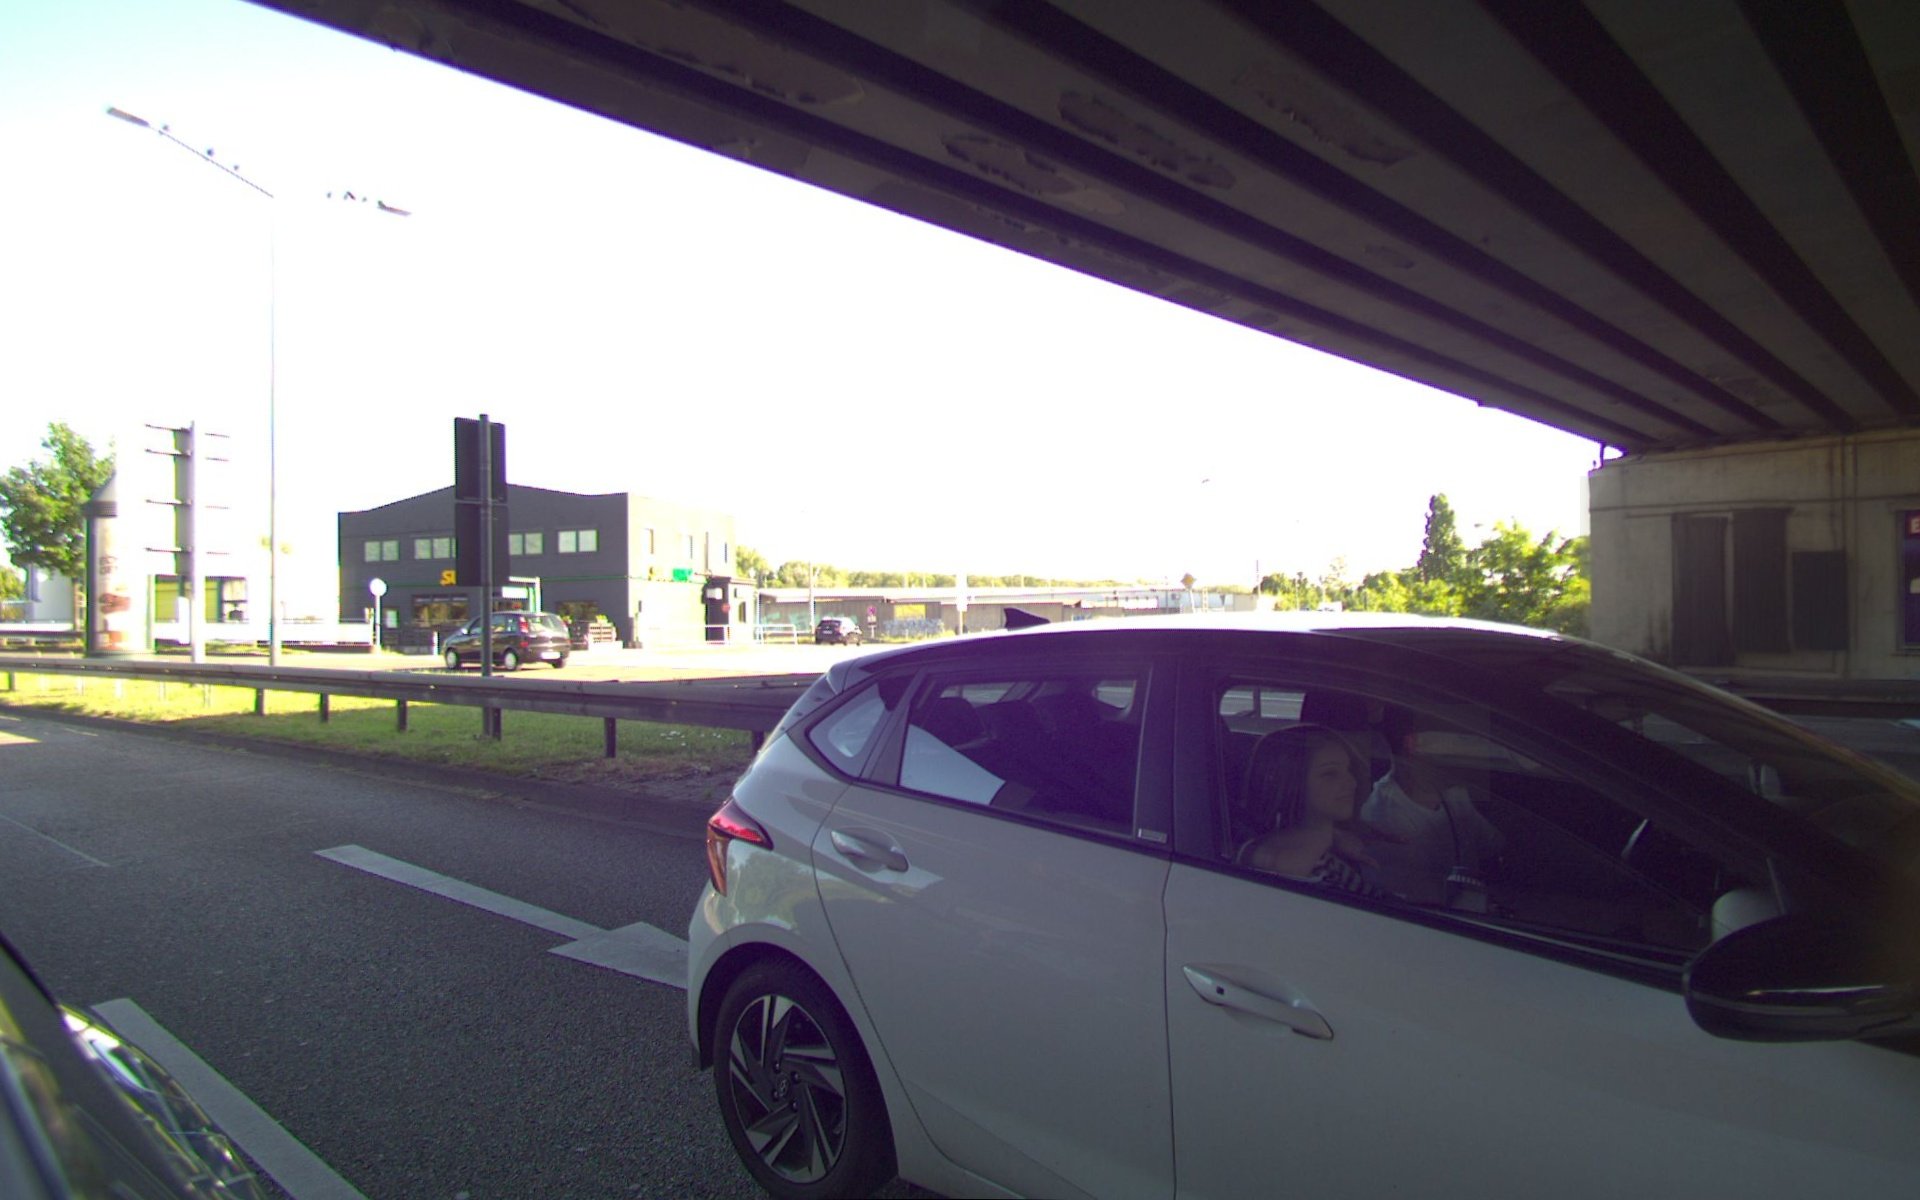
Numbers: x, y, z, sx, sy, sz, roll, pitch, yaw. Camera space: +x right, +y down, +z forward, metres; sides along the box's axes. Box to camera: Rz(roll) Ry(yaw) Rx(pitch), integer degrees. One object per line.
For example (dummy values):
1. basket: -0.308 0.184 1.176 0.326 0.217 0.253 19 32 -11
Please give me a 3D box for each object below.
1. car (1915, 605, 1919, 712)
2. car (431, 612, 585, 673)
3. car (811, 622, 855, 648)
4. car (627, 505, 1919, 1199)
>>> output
1. car: 12.646 0.763 10.494 3.822 1.531 1.602 -2 -2 40
2. car: -12.532 1.178 28.032 4.166 1.600 1.812 -2 -2 30
3. car: -6.849 1.923 55.073 1.806 1.291 4.180 1 -3 1
4. car: 1.154 0.656 2.168 3.987 1.491 1.716 -1 -1 40
